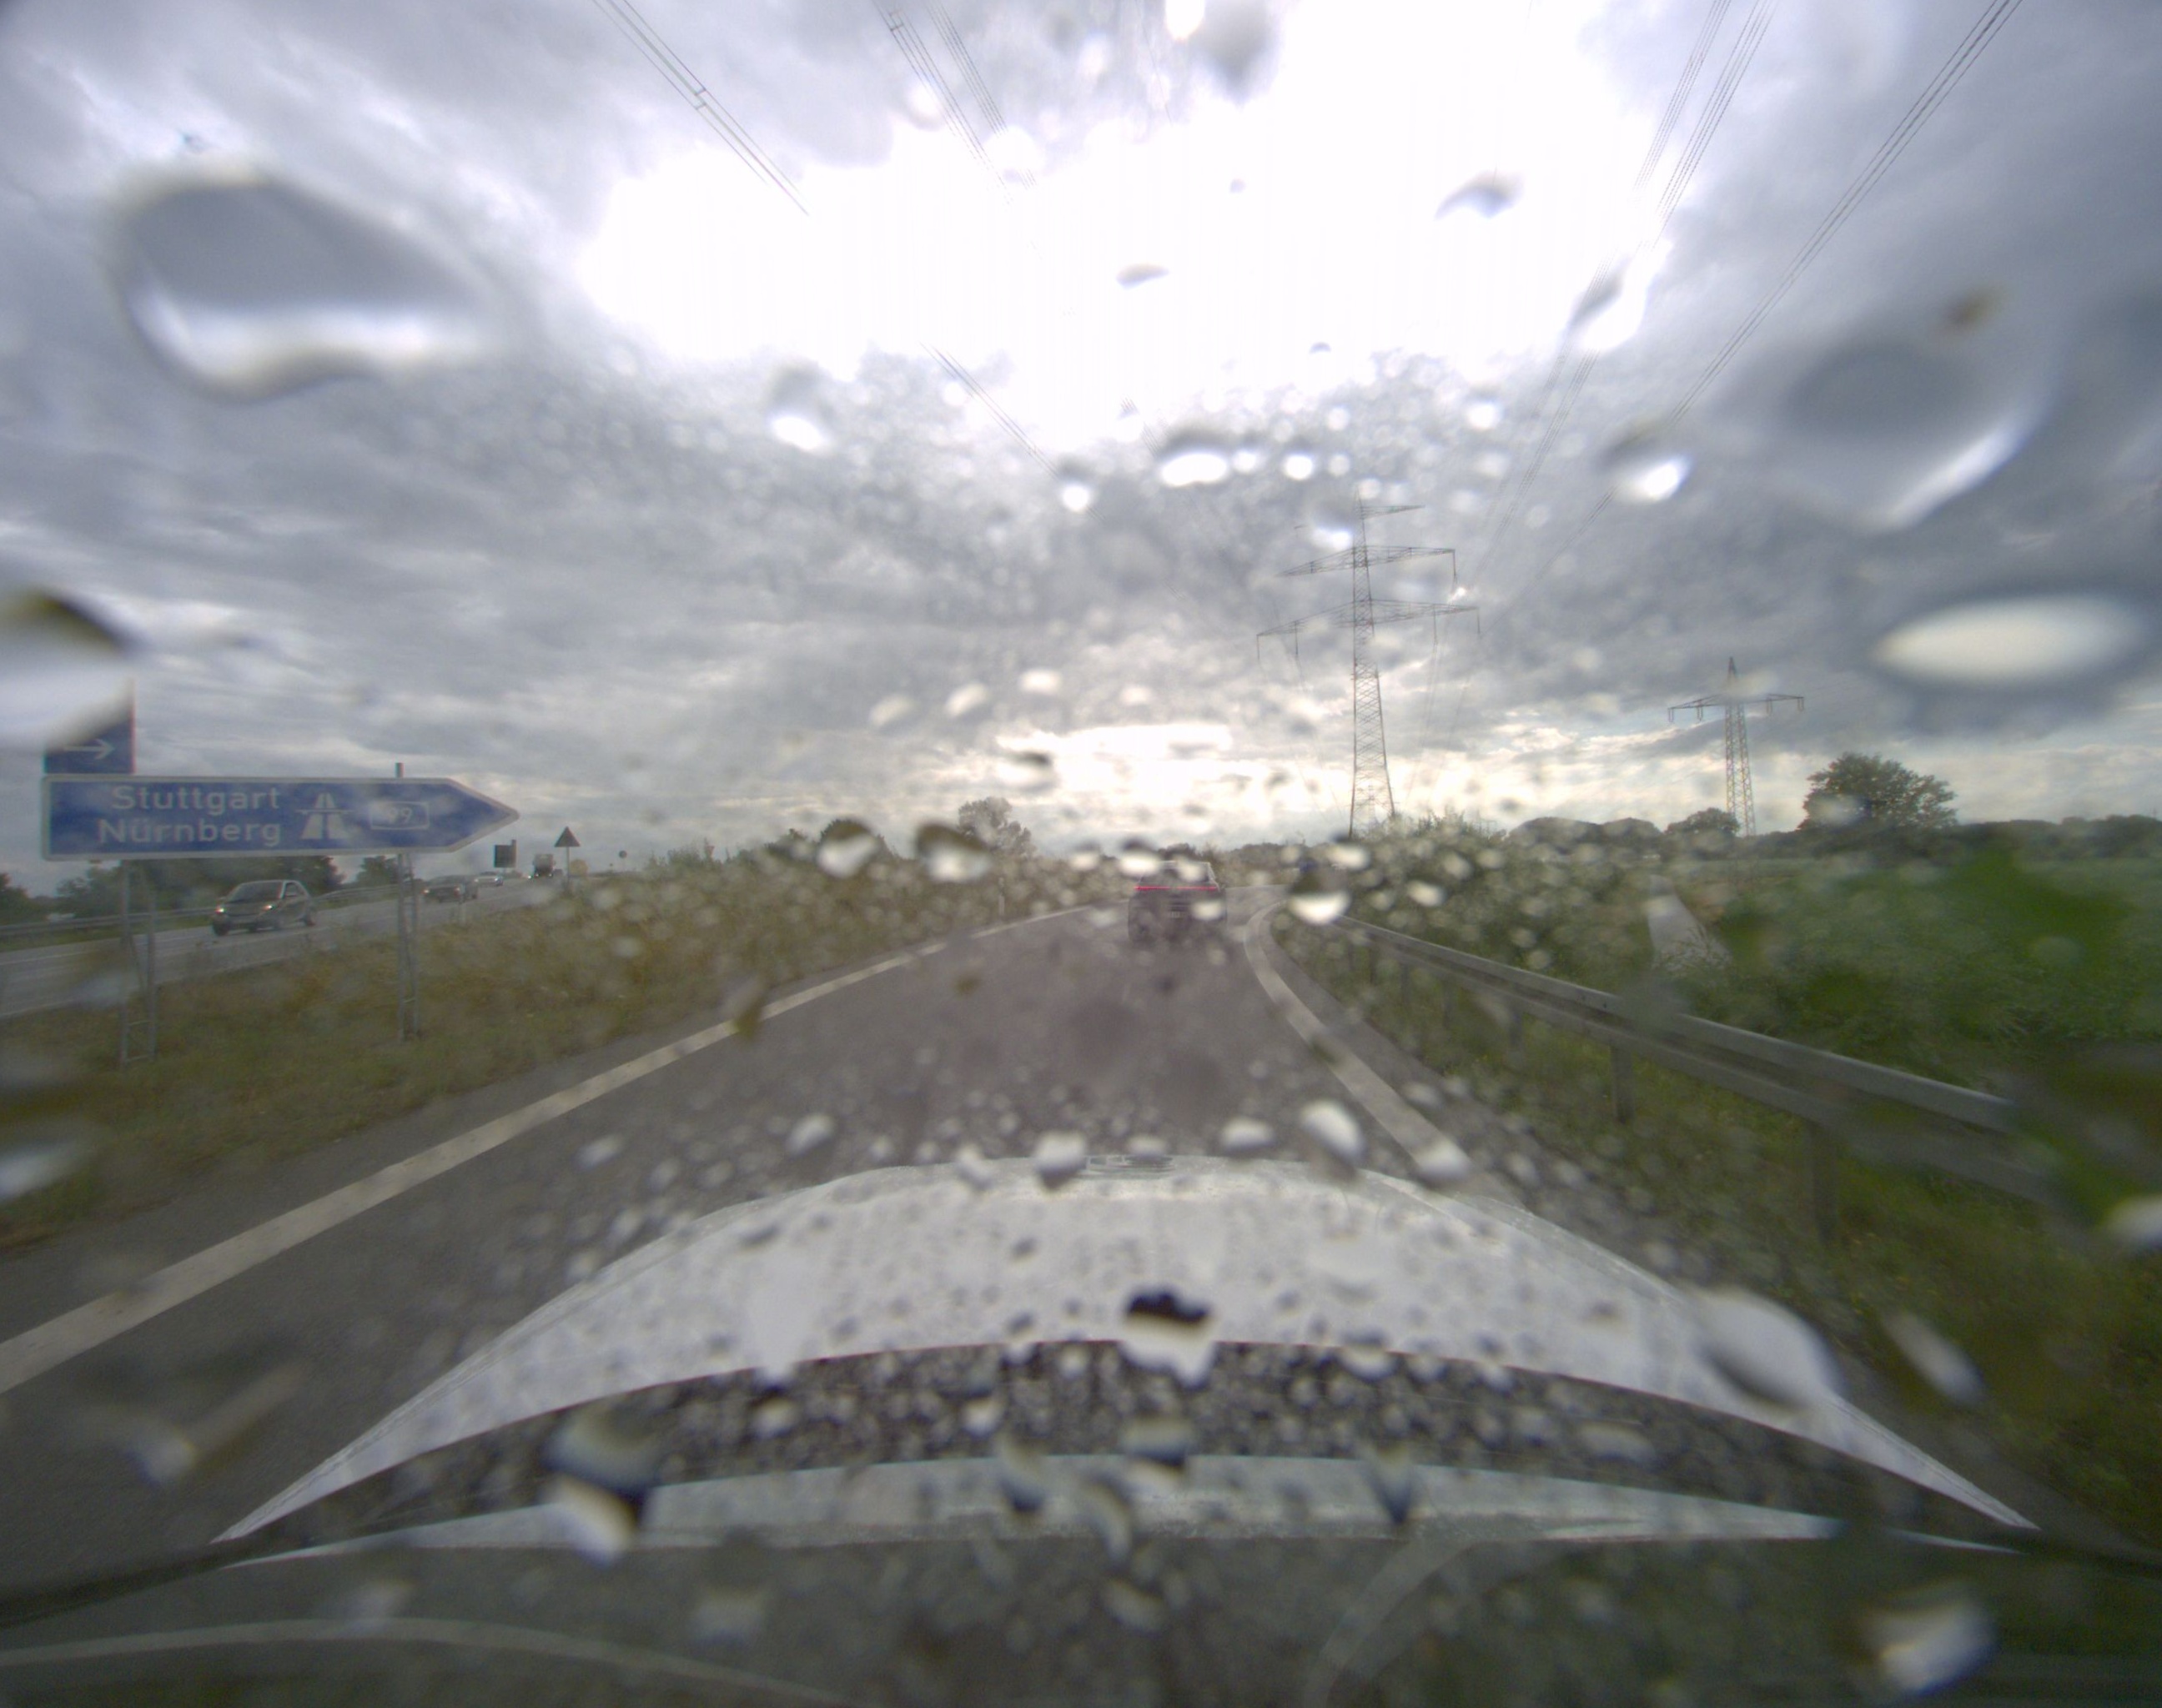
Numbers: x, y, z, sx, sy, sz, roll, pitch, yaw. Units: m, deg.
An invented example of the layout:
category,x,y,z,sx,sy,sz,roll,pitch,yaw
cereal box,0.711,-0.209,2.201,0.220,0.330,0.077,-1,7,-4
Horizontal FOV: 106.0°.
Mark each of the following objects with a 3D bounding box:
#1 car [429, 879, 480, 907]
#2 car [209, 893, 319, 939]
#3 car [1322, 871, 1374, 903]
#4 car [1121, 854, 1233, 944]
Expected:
category,x,y,z,sx,sy,sz,roll,pitch,yaw
car,-33.970,2.106,44.226,1.483,1.350,3.682,-1,0,-27
car,-25.432,1.893,25.465,1.438,1.176,3.108,0,0,-25
car,18.548,2.228,56.343,2.100,2.018,5.569,-3,-2,32
car,2.060,0.802,16.755,1.982,1.566,4.160,1,0,9
